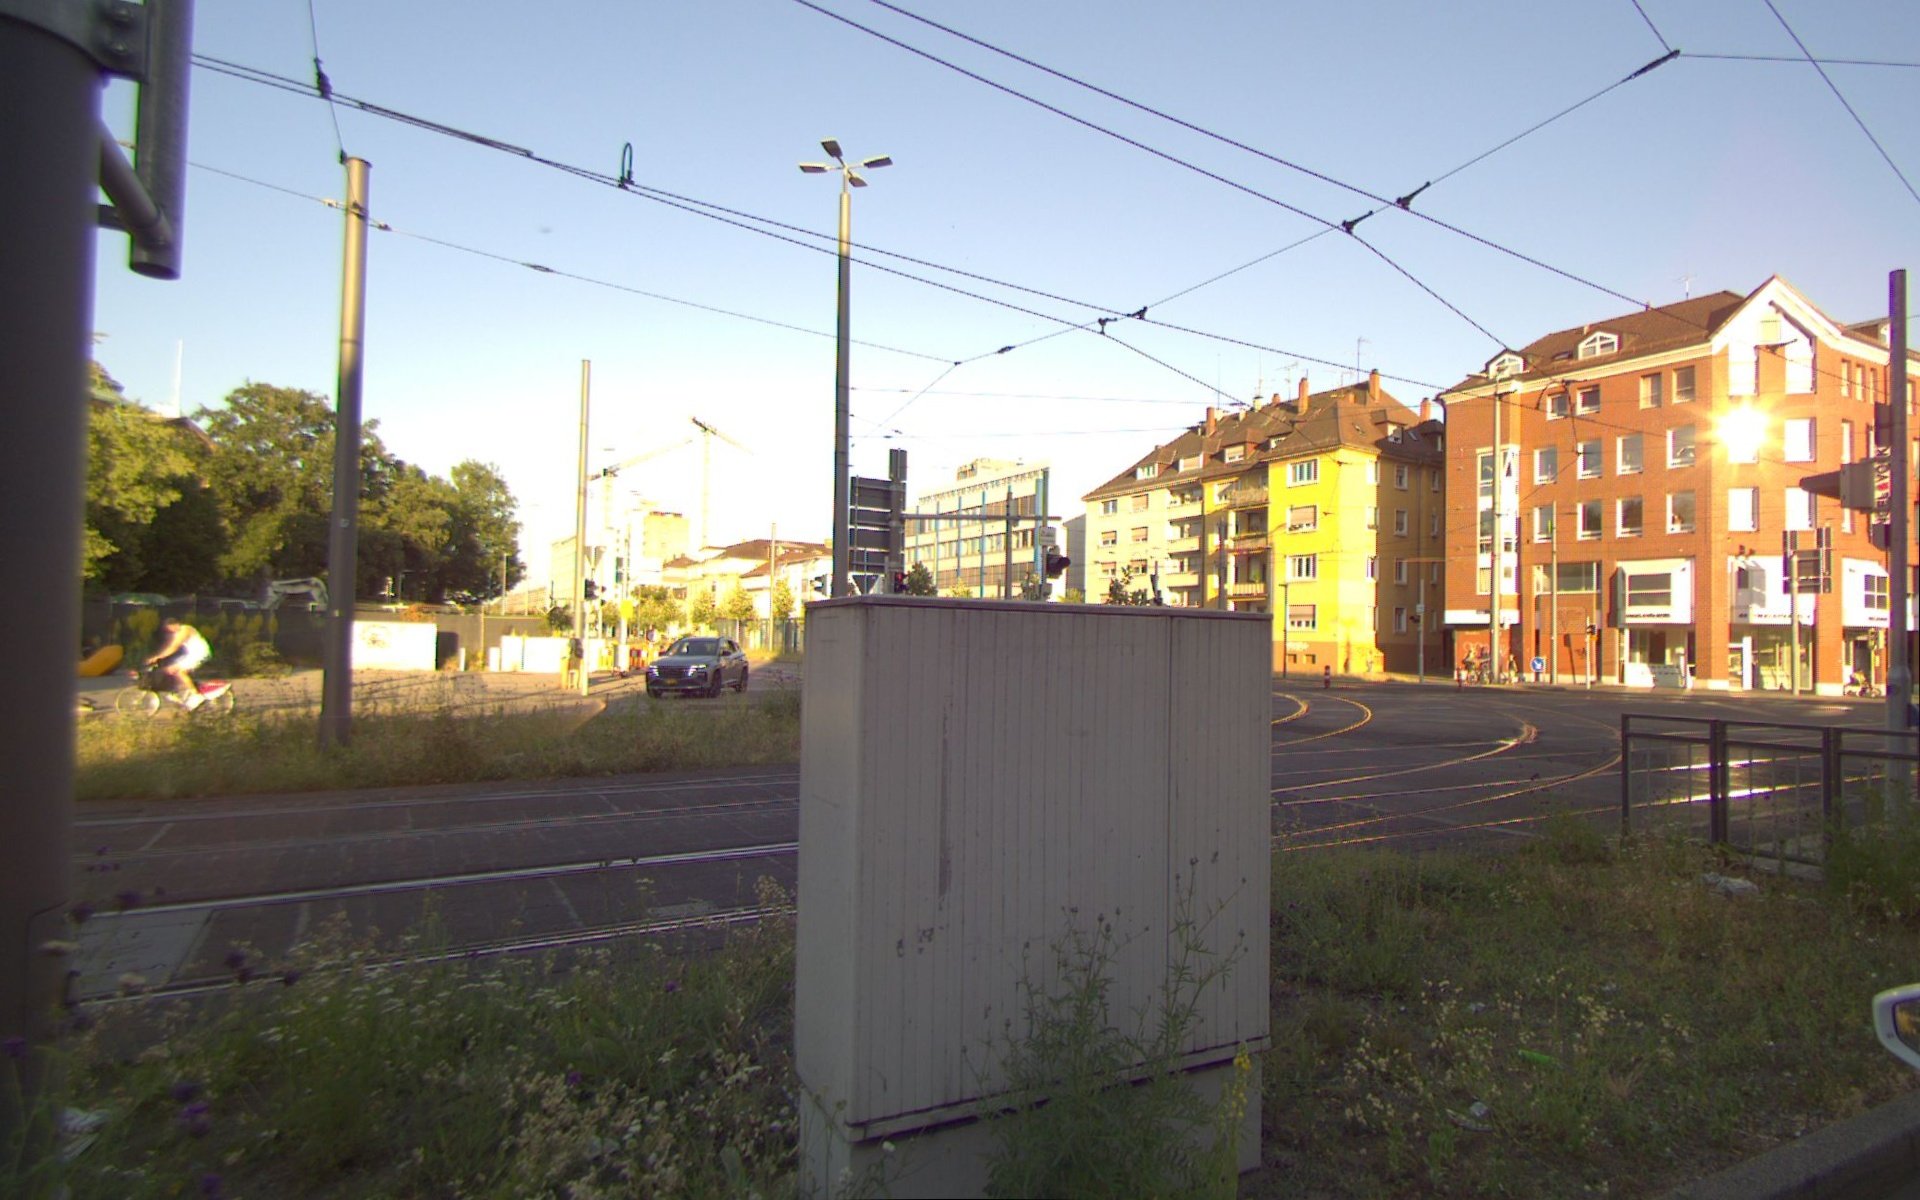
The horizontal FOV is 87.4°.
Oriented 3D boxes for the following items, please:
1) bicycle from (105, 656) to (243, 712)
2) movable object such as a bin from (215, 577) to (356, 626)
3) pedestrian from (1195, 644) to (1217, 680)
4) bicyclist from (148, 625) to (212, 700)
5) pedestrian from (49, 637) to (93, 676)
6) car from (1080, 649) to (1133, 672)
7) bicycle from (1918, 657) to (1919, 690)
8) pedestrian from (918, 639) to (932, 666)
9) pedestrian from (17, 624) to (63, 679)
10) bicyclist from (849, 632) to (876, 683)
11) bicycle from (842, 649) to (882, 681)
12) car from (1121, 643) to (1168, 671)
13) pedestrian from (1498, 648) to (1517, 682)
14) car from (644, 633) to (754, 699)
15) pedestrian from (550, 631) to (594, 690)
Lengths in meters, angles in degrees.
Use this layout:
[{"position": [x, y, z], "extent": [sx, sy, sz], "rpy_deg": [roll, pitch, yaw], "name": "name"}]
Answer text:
[{"position": [-13.762, 1.451, 17.631], "extent": [0.670, 0.904, 1.790], "rpy_deg": [-1, -3, 38], "name": "bicycle"}, {"position": [-30.197, 0.075, 45.085], "extent": [4.925, 2.040, 2.001], "rpy_deg": [1, -2, 0], "name": "movable object such as a bin"}, {"position": [10.751, 2.714, 43.934], "extent": [0.695, 1.561, 0.635], "rpy_deg": [1, -2, -14], "name": "pedestrian"}, {"position": [-13.727, 1.084, 17.680], "extent": [0.658, 1.274, 0.726], "rpy_deg": [-1, -3, 39], "name": "bicyclist"}, {"position": [-27.472, 1.733, 31.059], "extent": [0.725, 1.173, 0.984], "rpy_deg": [2, -3, -25], "name": "pedestrian"}, {"position": [12.214, 5.048, 84.025], "extent": [2.097, 1.727, 4.312], "rpy_deg": [5, -4, -32], "name": "car"}, {"position": [52.016, 3.884, 52.042], "extent": [1.055, 1.748, 3.286], "rpy_deg": [2, -2, -27], "name": "bicycle"}, {"position": [-2.066, 3.073, 58.938], "extent": [0.558, 1.611, 0.685], "rpy_deg": [2, -2, -27], "name": "pedestrian"}, {"position": [-28.470, 1.585, 31.103], "extent": [0.754, 1.687, 0.817], "rpy_deg": [2, -2, -24], "name": "pedestrian"}, {"position": [-3.280, 1.932, 33.709], "extent": [0.589, 1.693, 0.742], "rpy_deg": [2, -2, -32], "name": "bicyclist"}, {"position": [-3.293, 2.175, 33.713], "extent": [0.590, 1.036, 1.831], "rpy_deg": [2, -3, -32], "name": "bicycle"}, {"position": [14.563, 4.528, 79.463], "extent": [1.720, 1.434, 3.525], "rpy_deg": [4, -18, -31], "name": "car"}, {"position": [29.822, 3.552, 54.706], "extent": [0.808, 1.801, 0.632], "rpy_deg": [3, -3, -37], "name": "pedestrian"}, {"position": [-7.250, 1.815, 28.349], "extent": [1.911, 1.682, 4.537], "rpy_deg": [1, -2, 0], "name": "car"}, {"position": [-11.944, 1.854, 30.970], "extent": [0.805, 1.758, 0.944], "rpy_deg": [0, -2, 18], "name": "pedestrian"}]
